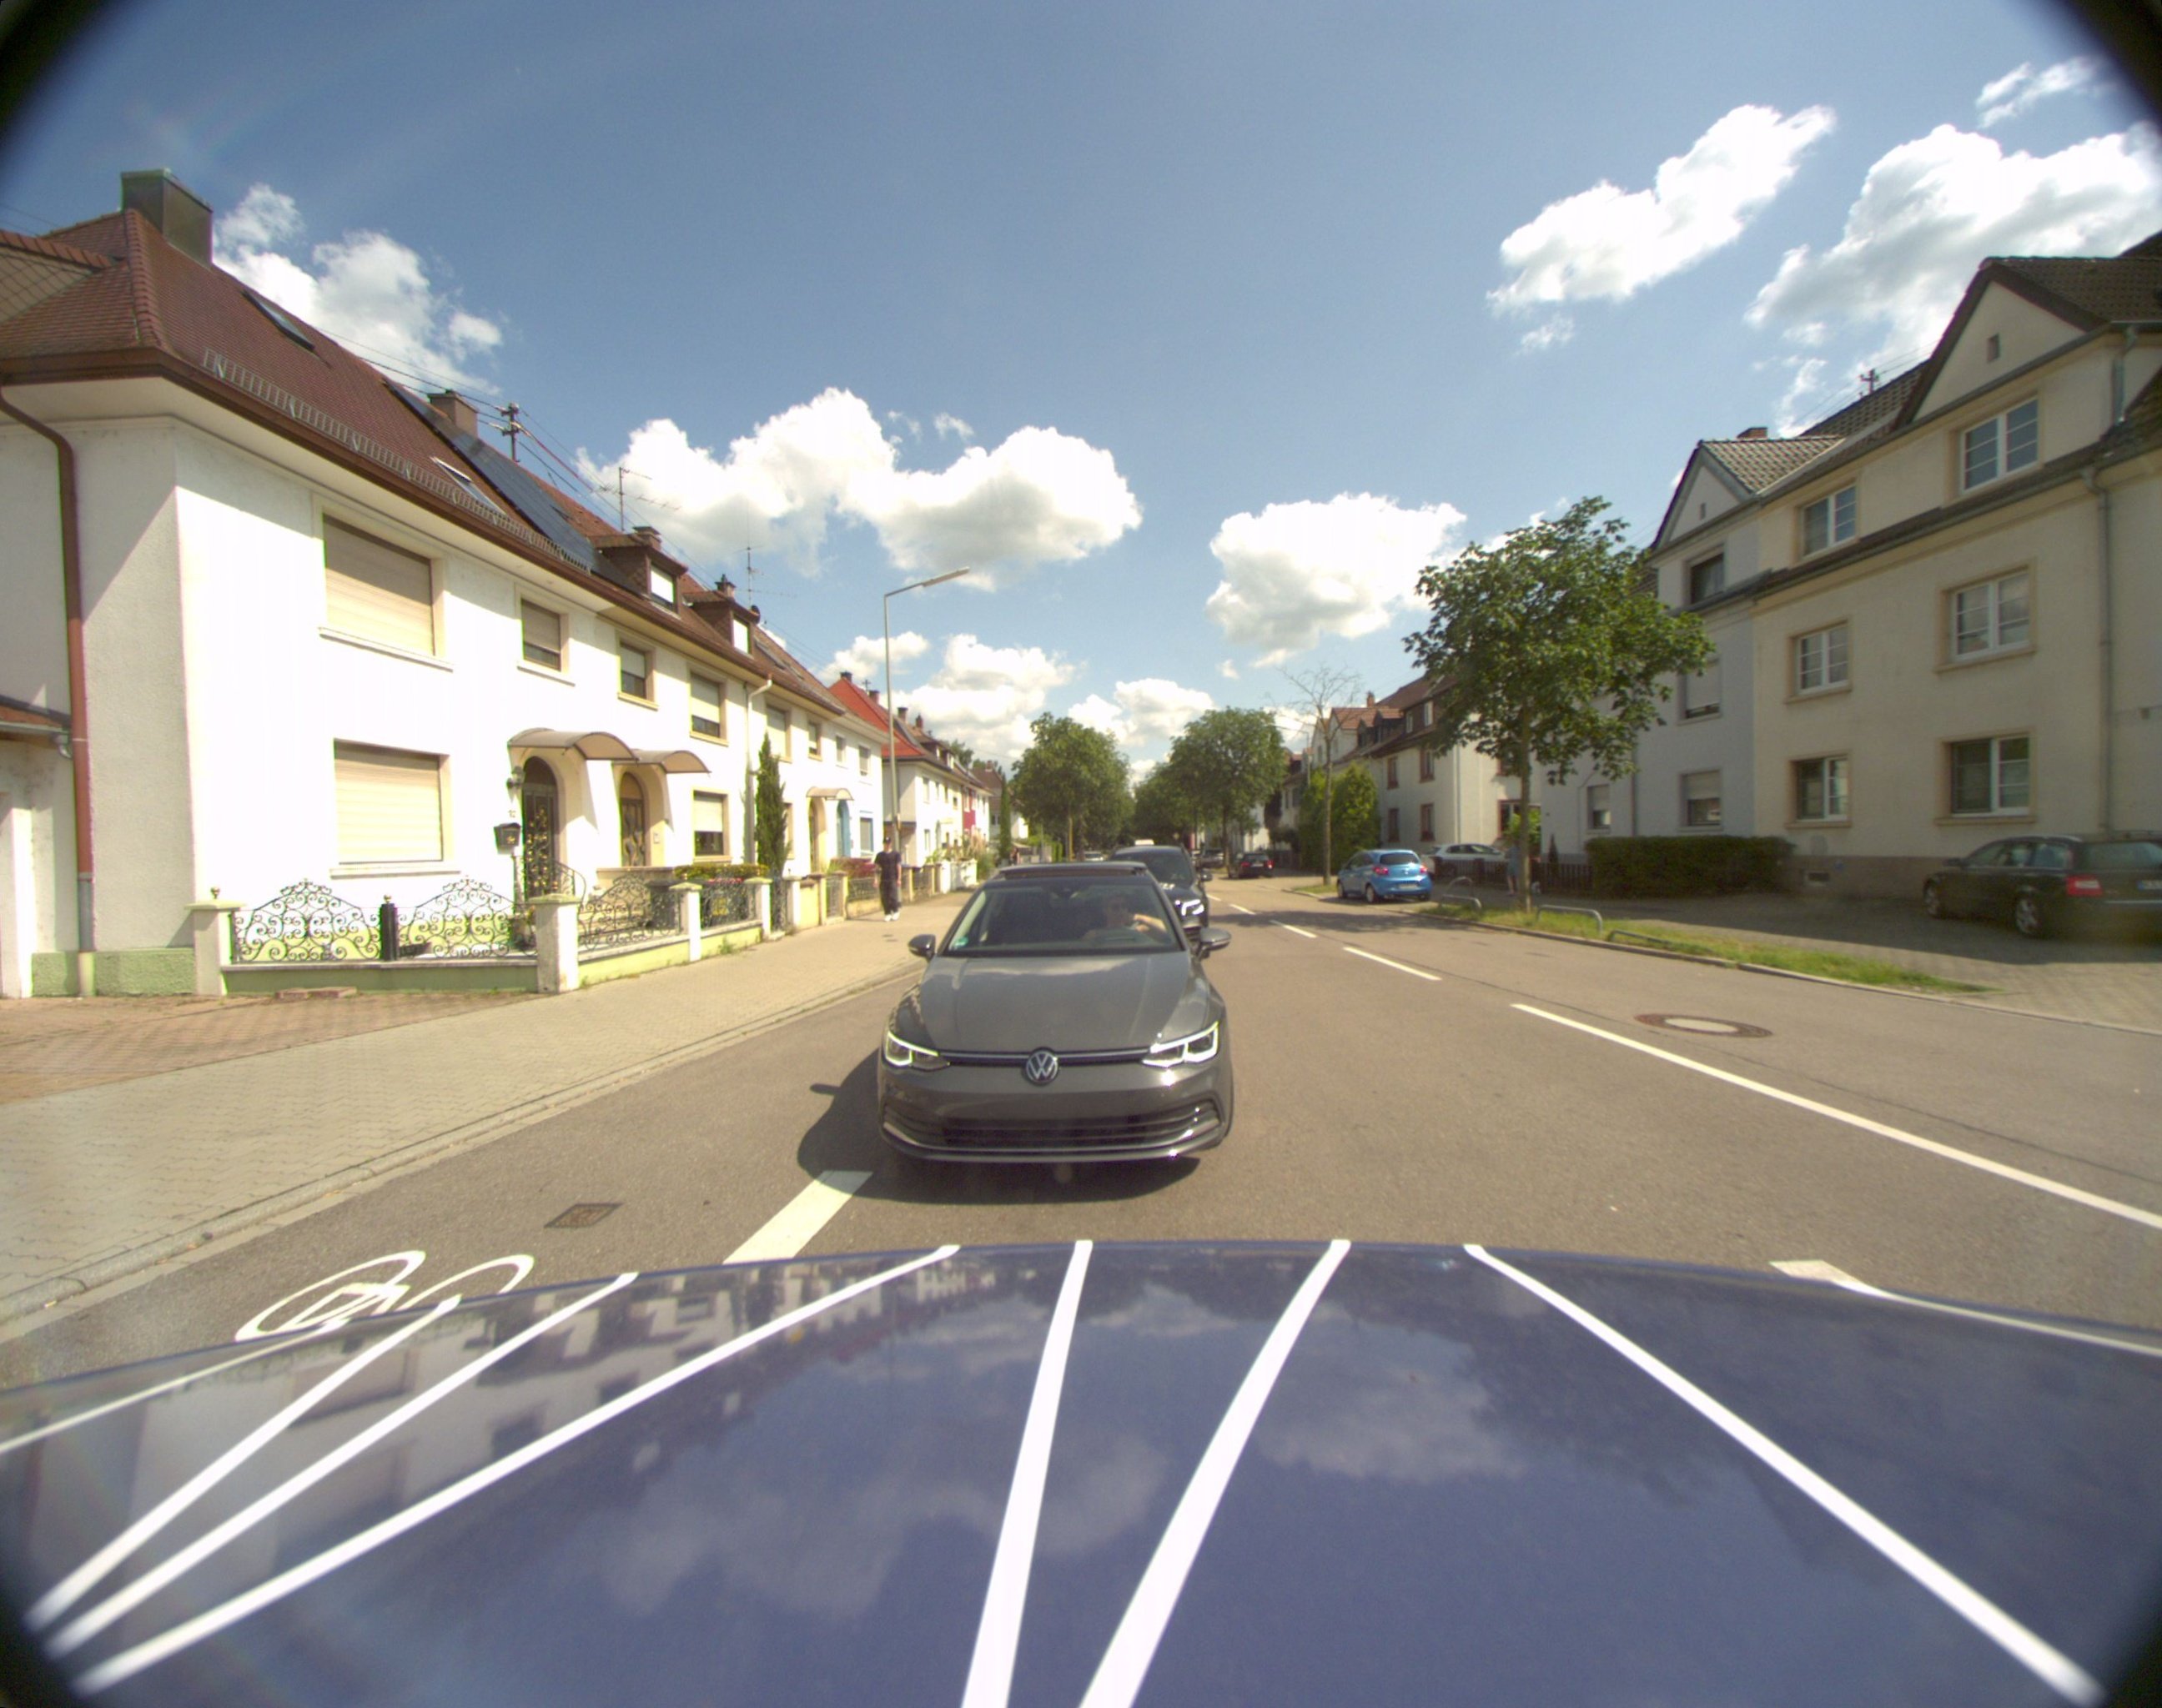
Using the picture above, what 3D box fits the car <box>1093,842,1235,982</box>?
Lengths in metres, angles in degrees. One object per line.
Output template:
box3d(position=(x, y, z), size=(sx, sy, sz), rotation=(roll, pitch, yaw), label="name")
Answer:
box3d(position=(1.112, 0.725, 12.100), size=(1.776, 1.754, 4.874), rotation=(-1, 0, 1), label="car")

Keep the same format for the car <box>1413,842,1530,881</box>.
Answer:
box3d(position=(15.633, 0.293, 30.571), size=(3.805, 1.446, 1.711), rotation=(-1, 1, 4), label="car")

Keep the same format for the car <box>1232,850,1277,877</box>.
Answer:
box3d(position=(8.952, 0.469, 39.479), size=(1.709, 1.289, 3.918), rotation=(-1, 0, 4), label="car")

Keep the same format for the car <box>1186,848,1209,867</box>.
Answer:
box3d(position=(9.127, 0.281, 59.446), size=(1.623, 1.417, 3.002), rotation=(-2, 0, 6), label="car")

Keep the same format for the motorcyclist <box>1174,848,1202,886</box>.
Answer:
box3d(position=(4.115, 0.516, 29.232), size=(0.825, 1.390, 1.100), rotation=(-3, -2, -3), label="motorcyclist")

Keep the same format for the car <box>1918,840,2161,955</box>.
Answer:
box3d(position=(14.240, 0.504, 10.983), size=(1.757, 1.378, 4.110), rotation=(-1, 1, 31), label="car")

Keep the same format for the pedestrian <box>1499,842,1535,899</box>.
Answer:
box3d(position=(11.994, 0.439, 20.922), size=(0.632, 1.527, 0.618), rotation=(-1, 1, -1), label="pedestrian")

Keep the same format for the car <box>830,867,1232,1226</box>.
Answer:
box3d(position=(-0.253, 0.897, 5.743), size=(1.766, 1.465, 4.686), rotation=(-1, 0, -1), label="car")

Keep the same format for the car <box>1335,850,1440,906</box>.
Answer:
box3d(position=(8.623, 0.628, 21.642), size=(1.709, 1.454, 3.154), rotation=(-1, 0, 1), label="car")

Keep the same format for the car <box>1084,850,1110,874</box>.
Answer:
box3d(position=(1.073, 0.484, 49.950), size=(1.381, 1.493, 3.002), rotation=(-2, 0, 6), label="car")

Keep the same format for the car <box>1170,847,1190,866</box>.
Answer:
box3d(position=(8.938, 0.228, 68.488), size=(1.562, 1.645, 3.252), rotation=(-1, 0, 4), label="car")

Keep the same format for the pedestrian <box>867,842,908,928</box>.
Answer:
box3d(position=(-4.062, 0.629, 15.976), size=(0.592, 1.757, 0.937), rotation=(-1, 1, 1), label="pedestrian")

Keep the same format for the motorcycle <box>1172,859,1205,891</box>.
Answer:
box3d(position=(4.110, 0.790, 29.230), size=(0.843, 1.121, 2.358), rotation=(-1, 0, -3), label="motorcycle")

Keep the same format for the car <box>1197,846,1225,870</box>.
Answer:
box3d(position=(9.119, 0.263, 53.421), size=(1.562, 1.645, 3.574), rotation=(-1, 0, 4), label="car")

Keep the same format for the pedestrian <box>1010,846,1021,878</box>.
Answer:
box3d(position=(-3.538, 0.449, 41.106), size=(0.519, 1.701, 0.618), rotation=(-1, 1, 2), label="pedestrian")
